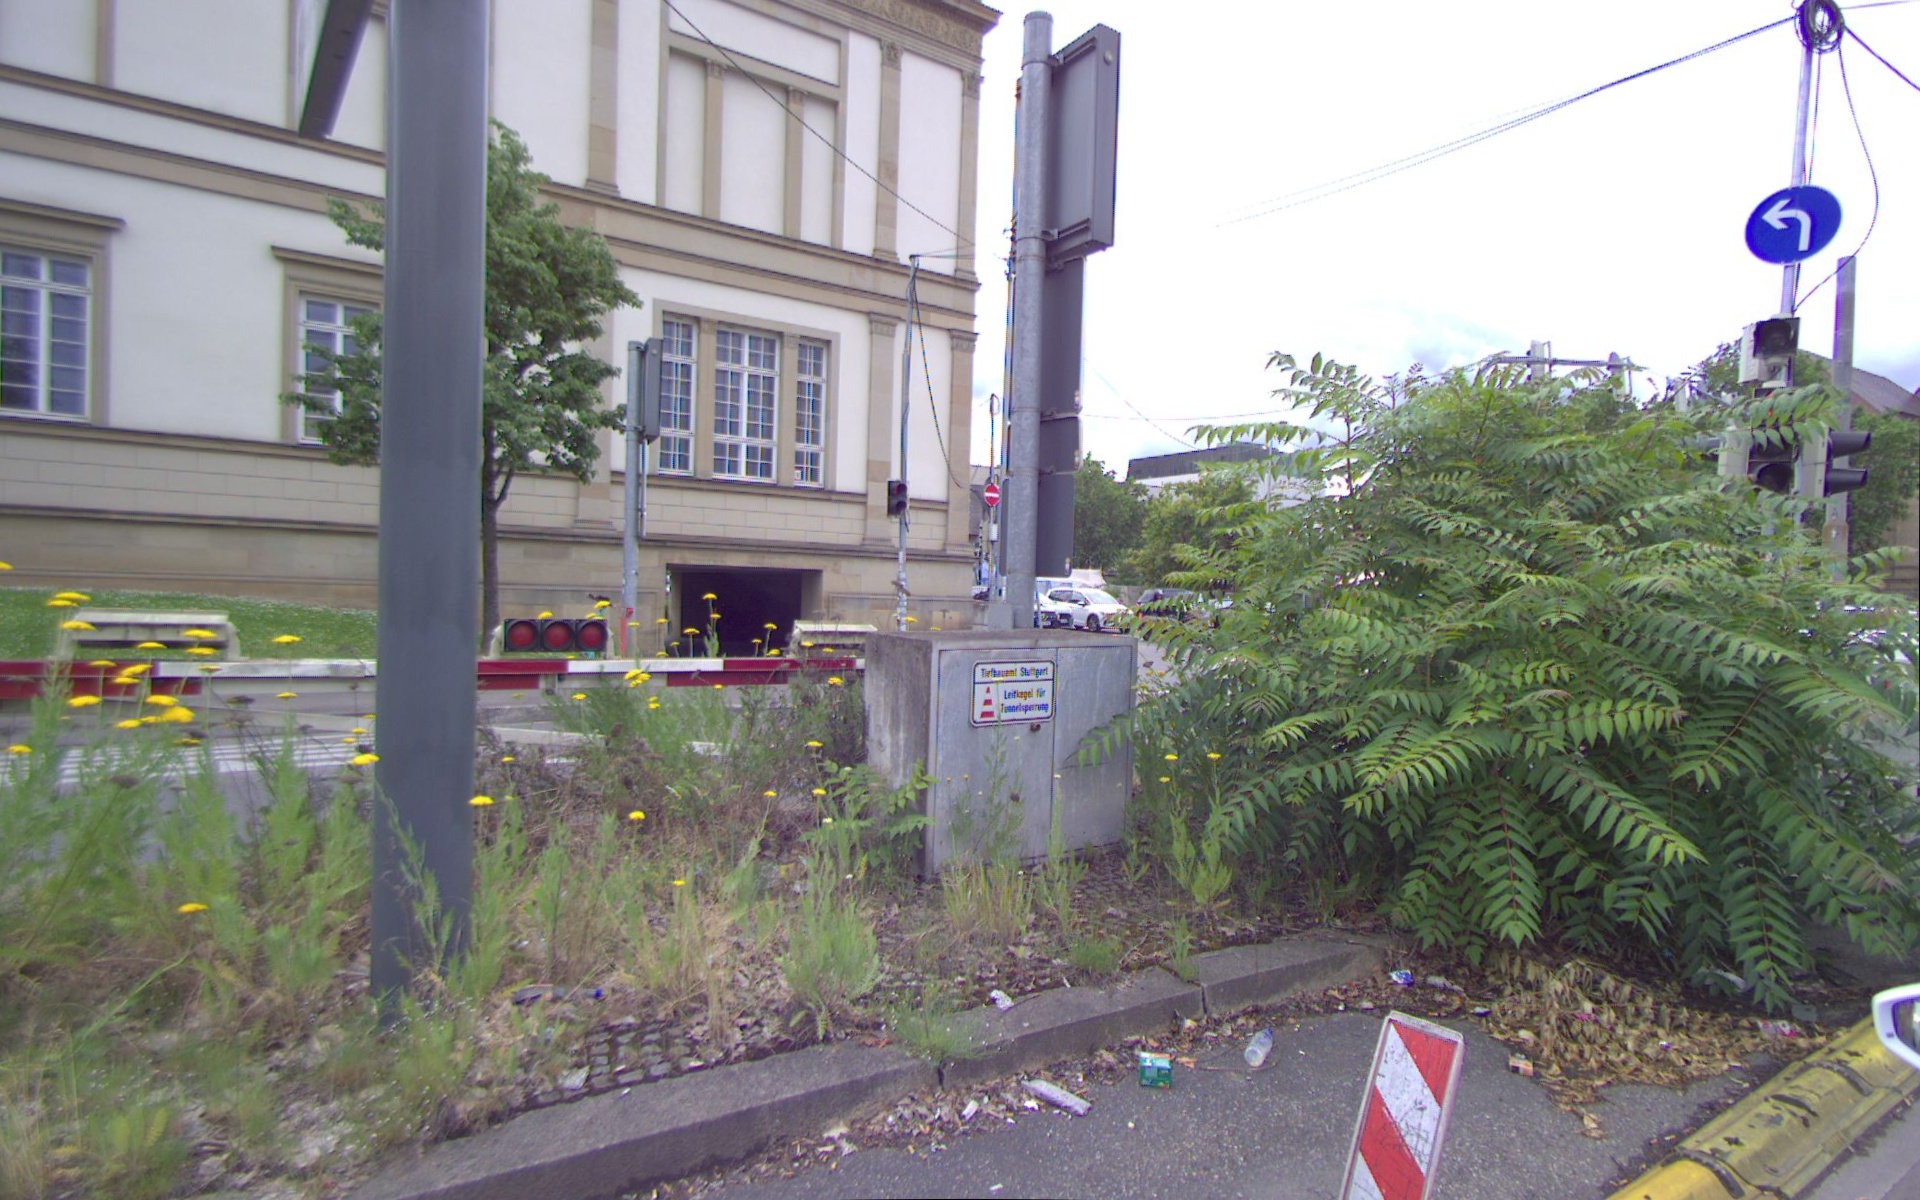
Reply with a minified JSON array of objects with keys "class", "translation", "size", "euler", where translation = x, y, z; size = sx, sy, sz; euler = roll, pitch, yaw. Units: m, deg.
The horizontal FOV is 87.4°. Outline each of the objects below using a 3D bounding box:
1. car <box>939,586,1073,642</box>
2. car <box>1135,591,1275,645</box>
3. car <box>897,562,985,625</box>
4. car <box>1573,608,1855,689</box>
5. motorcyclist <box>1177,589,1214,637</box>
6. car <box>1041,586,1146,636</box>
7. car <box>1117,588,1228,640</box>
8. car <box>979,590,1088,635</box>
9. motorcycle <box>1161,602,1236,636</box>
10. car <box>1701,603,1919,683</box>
[{"class":"car","translation":[1.421,0.429,32.581],"size":[1.871,1.647,4.319],"euler":[2,0,-41]},{"class":"car","translation":[7.677,0.543,31.849],"size":[1.978,1.568,4.084],"euler":[2,0,-32]},{"class":"car","translation":[-0.870,-0.296,43.807],"size":[1.978,2.585,4.083],"euler":[2,0,-32]},{"class":"car","translation":[16.126,0.979,21.750],"size":[1.977,1.485,4.467],"euler":[2,0,-31]},{"class":"motorcyclist","translation":[6.978,0.388,29.835],"size":[0.690,1.398,0.784],"euler":[2,0,-33]},{"class":"car","translation":[5.175,0.388,39.406],"size":[1.889,1.763,4.051],"euler":[2,1,-32]},{"class":"car","translation":[8.053,0.503,38.437],"size":[1.889,1.763,3.964],"euler":[2,1,-32]},{"class":"car","translation":[2.673,0.437,37.481],"size":[1.978,1.568,4.083],"euler":[2,0,-32]},{"class":"motorcycle","translation":[7.037,0.550,29.748],"size":[0.690,0.953,2.335],"euler":[2,0,-32]},{"class":"car","translation":[21.809,1.026,25.454],"size":[1.980,1.783,4.460],"euler":[2,0,-35]}]
